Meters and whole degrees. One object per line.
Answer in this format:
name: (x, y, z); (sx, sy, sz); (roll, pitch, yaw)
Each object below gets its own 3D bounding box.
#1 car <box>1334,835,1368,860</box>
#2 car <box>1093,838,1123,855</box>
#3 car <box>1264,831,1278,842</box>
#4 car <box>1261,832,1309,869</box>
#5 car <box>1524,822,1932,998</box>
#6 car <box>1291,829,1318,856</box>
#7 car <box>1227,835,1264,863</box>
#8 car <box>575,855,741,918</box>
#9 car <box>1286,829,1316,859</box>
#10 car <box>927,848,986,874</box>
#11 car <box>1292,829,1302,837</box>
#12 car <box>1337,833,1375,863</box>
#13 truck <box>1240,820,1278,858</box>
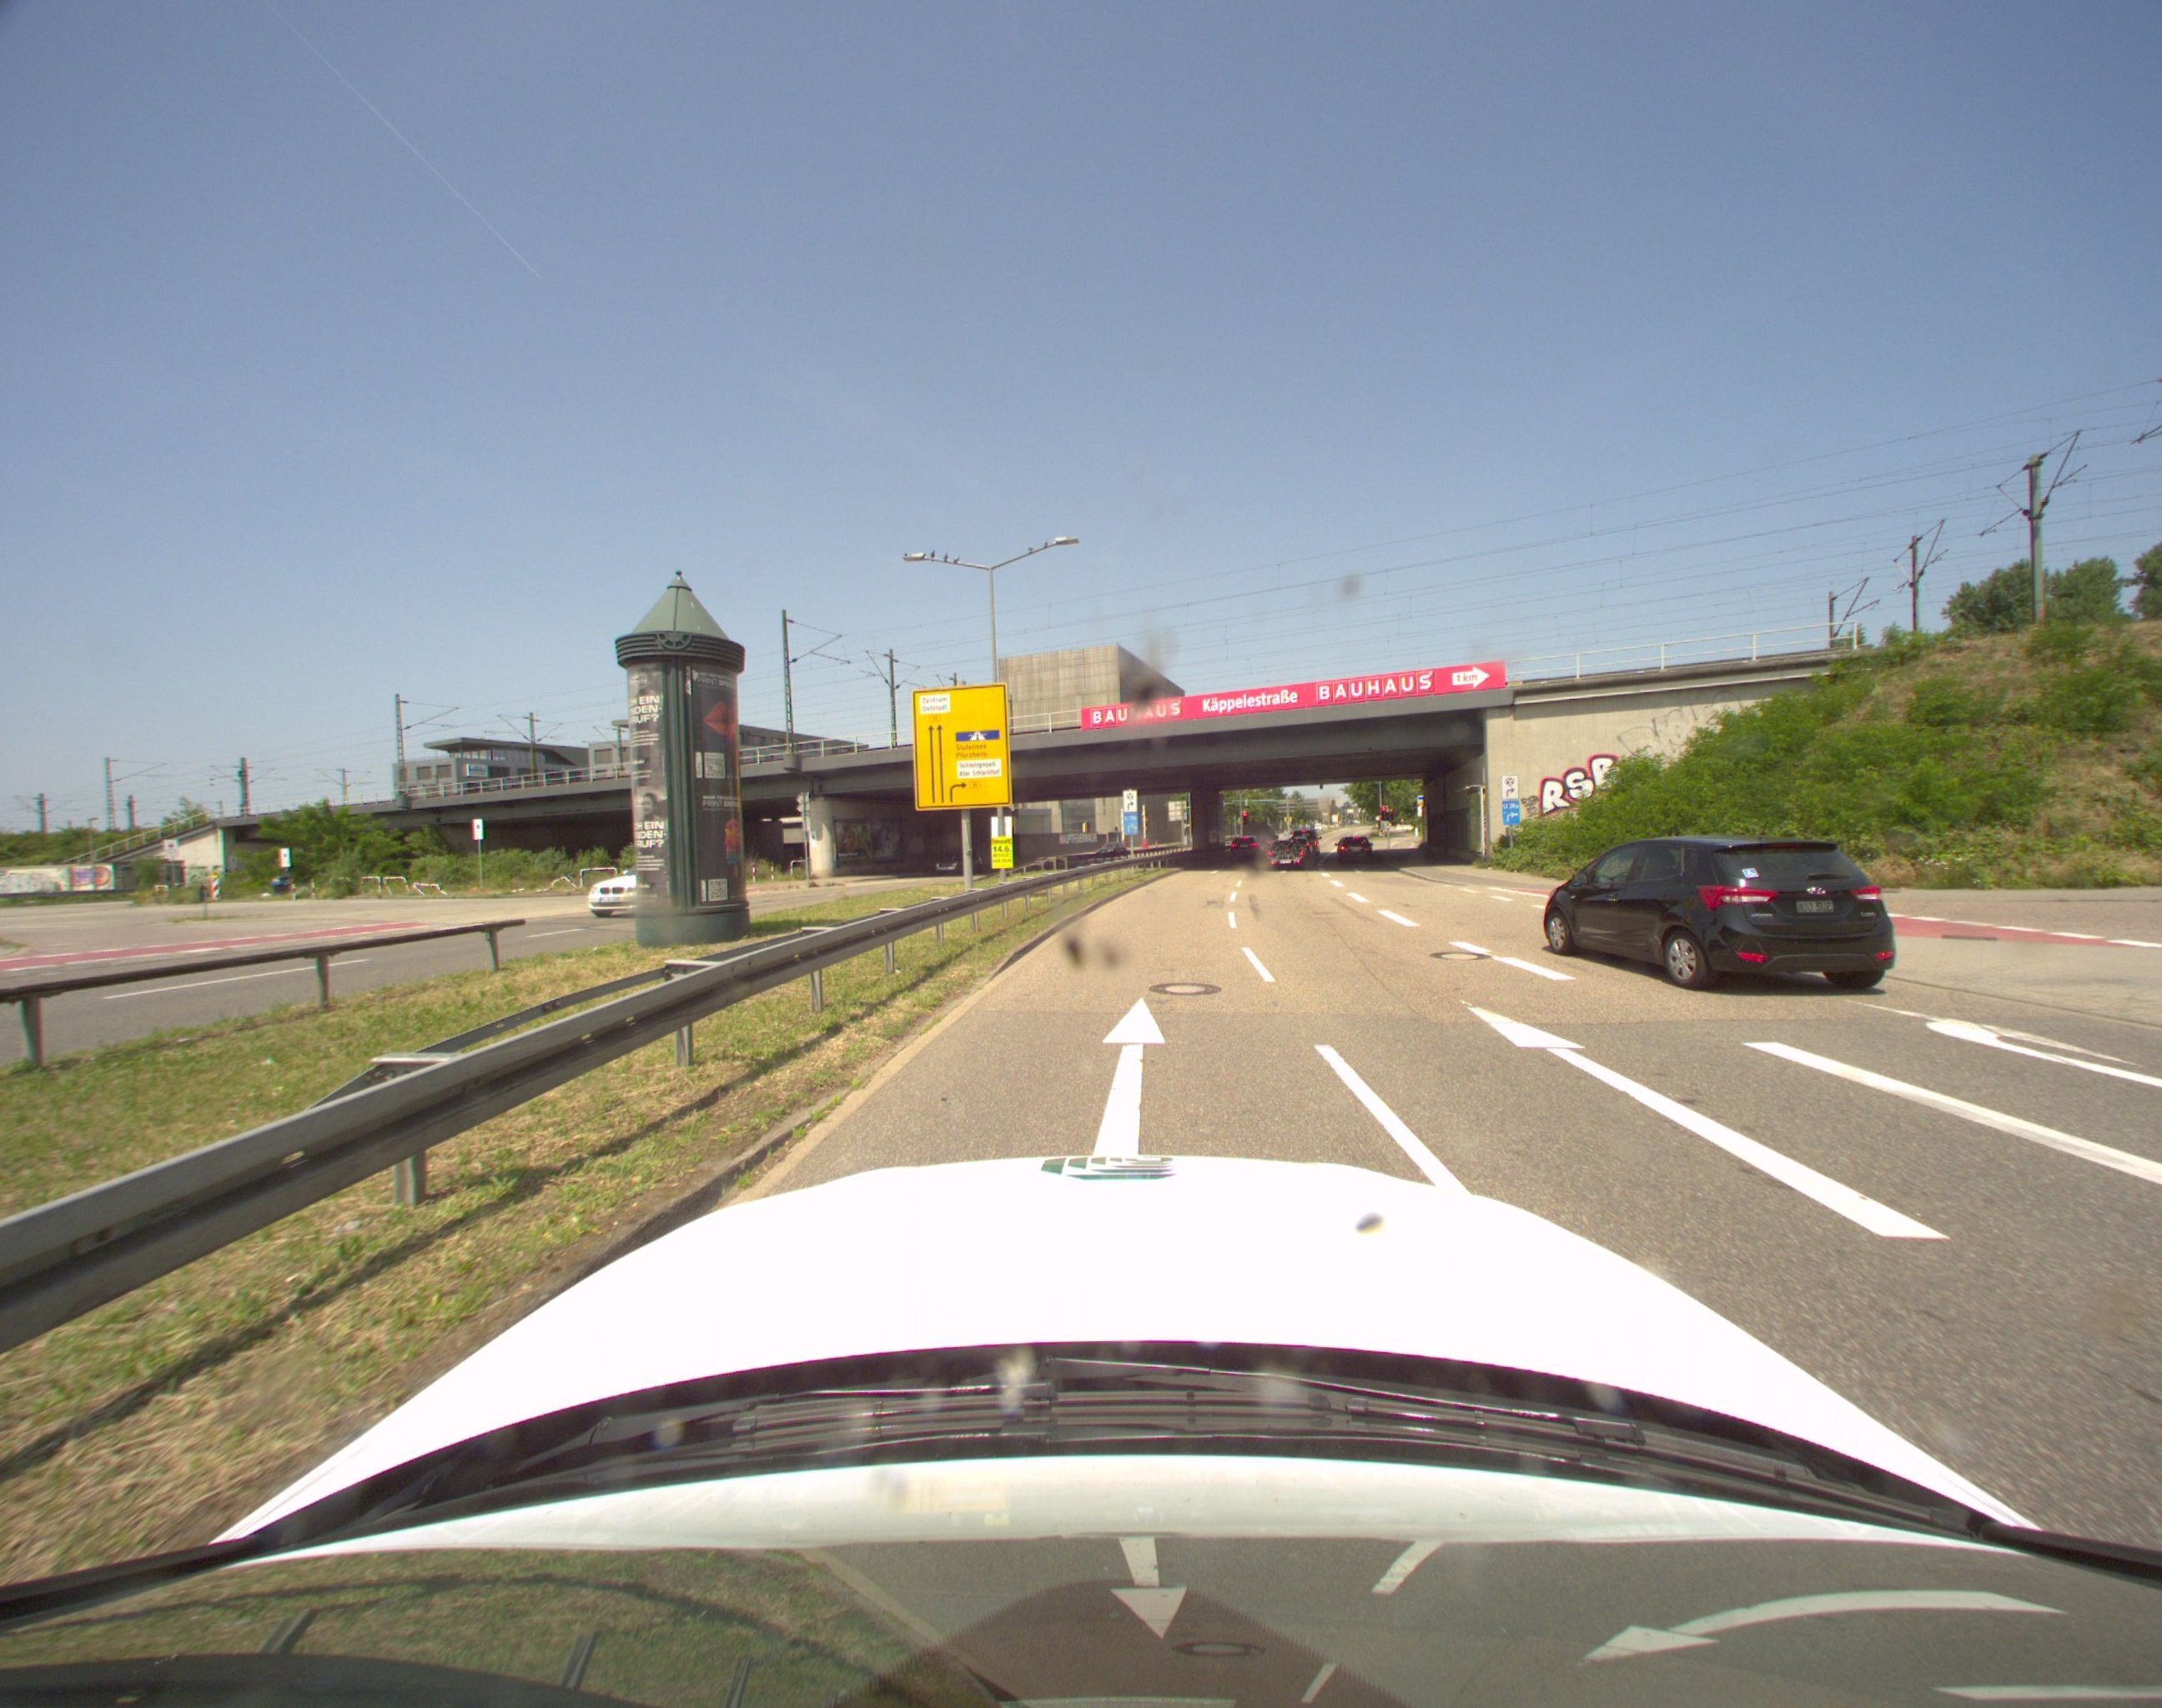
car: (17.245, -0.442, 52.088); (1.890, 1.488, 4.017); (-1, 0, 16)
car: (2.641, -0.739, 79.194); (1.839, 1.622, 4.018); (-1, 0, 17)
car: (30.521, -2.764, 130.827); (1.840, 1.622, 4.017); (-1, 0, 16)
car: (9.739, -0.179, 38.653); (1.941, 1.633, 4.300); (-1, 1, 18)
car: (7.105, 0.495, 9.602); (1.759, 1.599, 4.082); (-1, 1, 4)
car: (16.642, -0.833, 60.466); (1.826, 1.890, 4.017); (-1, 0, 16)
car: (10.660, -0.315, 52.443); (1.925, 1.721, 4.018); (-1, 0, 17)
car: (-10.594, 0.762, 20.784); (1.645, 1.379, 4.225); (-2, 0, 6)
car: (14.780, -0.661, 54.596); (1.826, 1.890, 4.017); (-1, 0, 16)
car: (-7.764, 0.435, 51.107); (1.978, 1.441, 4.018); (-4, -1, 17)
car: (45.609, -4.430, 171.943); (1.840, 1.622, 4.017); (-1, 0, 15)
car: (15.362, -0.315, 45.593); (1.826, 1.568, 4.017); (-1, 0, 16)
truck: (13.023, -1.092, 59.550); (2.050, 2.538, 4.021); (-3, 0, 20)
